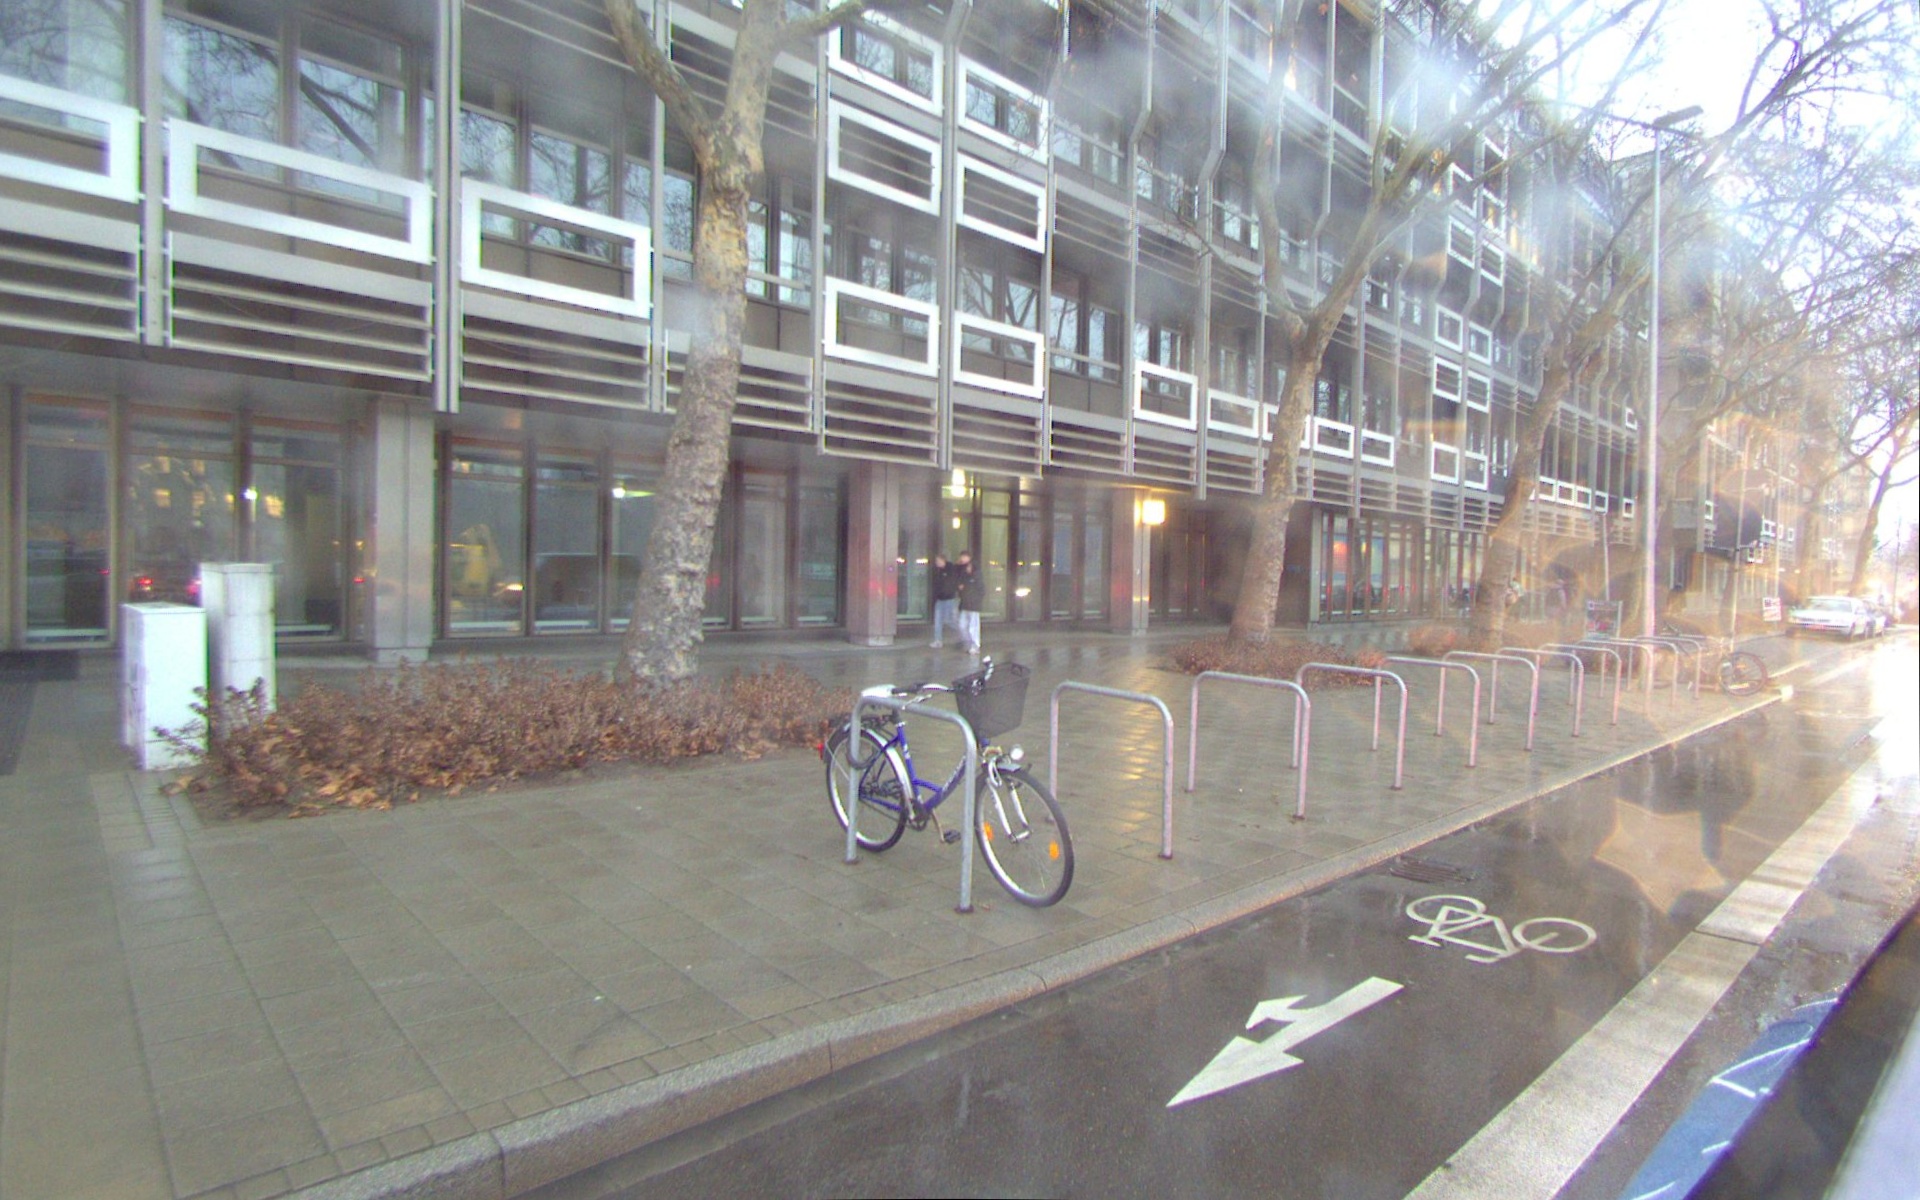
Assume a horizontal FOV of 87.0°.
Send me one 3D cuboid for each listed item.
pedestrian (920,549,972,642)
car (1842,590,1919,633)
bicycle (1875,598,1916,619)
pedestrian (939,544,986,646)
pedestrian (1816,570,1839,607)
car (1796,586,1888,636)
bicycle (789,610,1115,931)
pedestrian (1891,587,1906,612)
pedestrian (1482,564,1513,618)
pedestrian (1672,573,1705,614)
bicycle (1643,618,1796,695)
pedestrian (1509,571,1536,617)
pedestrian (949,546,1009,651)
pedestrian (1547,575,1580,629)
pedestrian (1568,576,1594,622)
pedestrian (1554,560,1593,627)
[{"bbox_3d":[-0.241,-0.086,17.587,0.733,1.583,0.484,0,1,-42],"label":"pedestrian"},{"bbox_3d":[35.360,0.411,38.645,3.930,1.504,1.997,0,2,-41],"label":"car"},{"bbox_3d":[46.979,0.434,50.831,1.518,1.049,0.462,0,1,42],"label":"bicycle"},{"bbox_3d":[0.049,-0.087,17.170,0.701,1.689,0.379,0,1,-41],"label":"pedestrian"},{"bbox_3d":[48.099,-0.624,56.129,1.007,2.039,0.790,0,1,-41],"label":"pedestrian"},{"bbox_3d":[29.426,0.323,33.747,3.859,1.449,1.609,0,5,-39],"label":"car"},{"bbox_3d":[-0.119,0.696,4.838,0.428,1.162,1.752,0,4,-44],"label":"bicycle"},{"bbox_3d":[74.957,-0.045,80.842,0.758,2.039,0.837,-1,0,-42],"label":"pedestrian"},{"bbox_3d":[17.082,-0.290,32.172,0.767,1.677,0.617,0,1,-41],"label":"pedestrian"},{"bbox_3d":[28.061,-0.241,38.988,0.824,1.543,0.865,0,2,-44],"label":"pedestrian"},{"bbox_3d":[11.649,0.838,15.565,0.607,0.986,1.789,0,3,-45],"label":"bicycle"},{"bbox_3d":[17.448,-0.190,31.400,0.492,1.386,0.495,0,1,-27],"label":"pedestrian"},{"bbox_3d":[0.317,-0.031,16.784,0.858,1.689,0.501,0,2,-41],"label":"pedestrian"},{"bbox_3d":[17.722,0.050,29.719,0.604,1.563,0.649,0,1,-40],"label":"pedestrian"},{"bbox_3d":[23.339,-0.048,38.051,0.639,1.675,0.830,2,2,43],"label":"pedestrian"},{"bbox_3d":[19.077,-0.202,31.477,0.723,2.039,0.821,0,1,-43],"label":"pedestrian"}]
